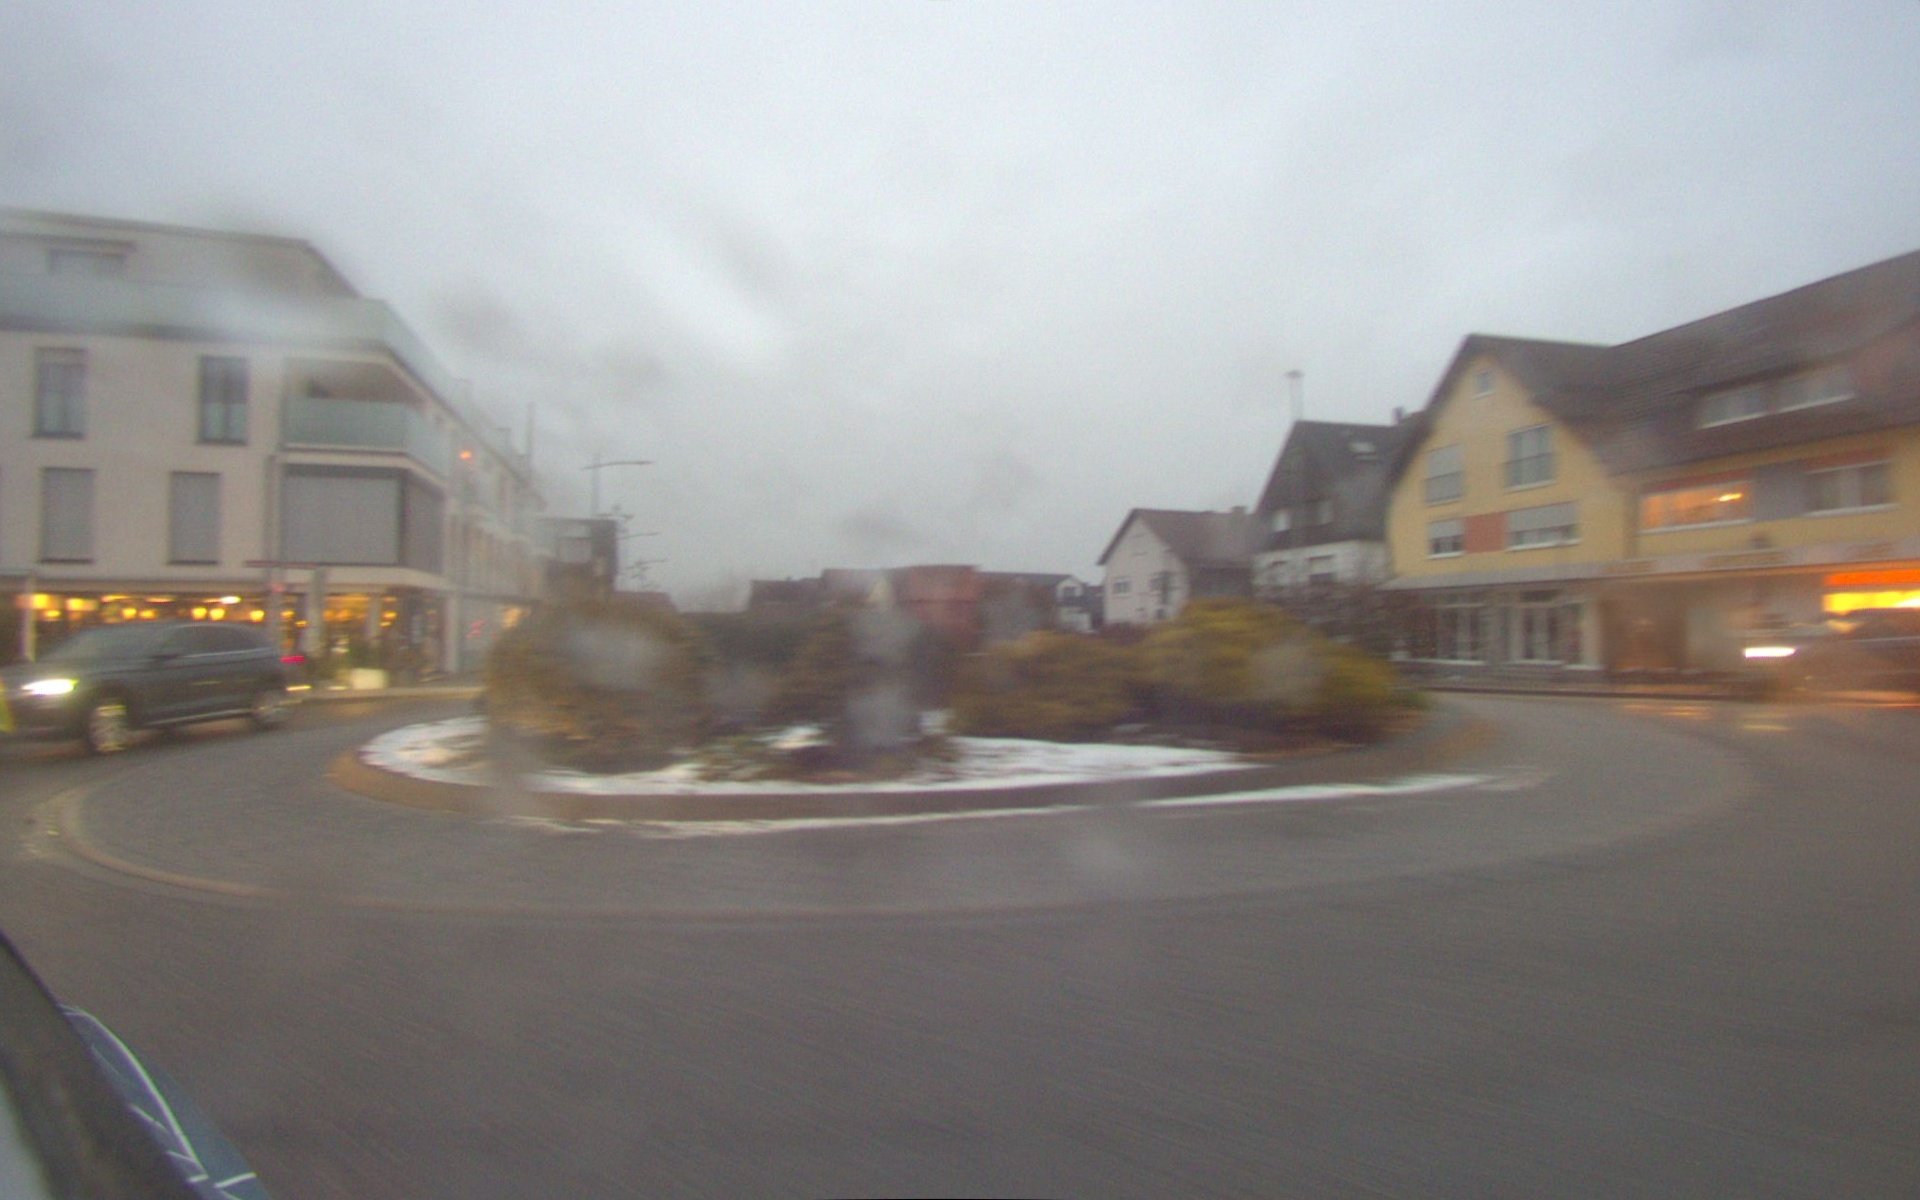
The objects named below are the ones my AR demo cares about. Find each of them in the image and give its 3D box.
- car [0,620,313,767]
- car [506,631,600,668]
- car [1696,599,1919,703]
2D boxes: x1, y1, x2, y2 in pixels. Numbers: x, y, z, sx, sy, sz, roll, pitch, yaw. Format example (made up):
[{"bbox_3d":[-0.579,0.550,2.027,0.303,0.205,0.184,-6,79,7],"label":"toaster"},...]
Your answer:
[{"bbox_3d":[-11.176,1.092,13.496,1.929,1.605,4.626,-1,-1,4],"label":"car"},{"bbox_3d":[-18.925,2.306,47.139,3.930,1.514,1.819,3,-1,-22],"label":"car"},{"bbox_3d":[15.641,0.860,17.378,4.327,1.679,1.991,-2,-2,14],"label":"car"}]
